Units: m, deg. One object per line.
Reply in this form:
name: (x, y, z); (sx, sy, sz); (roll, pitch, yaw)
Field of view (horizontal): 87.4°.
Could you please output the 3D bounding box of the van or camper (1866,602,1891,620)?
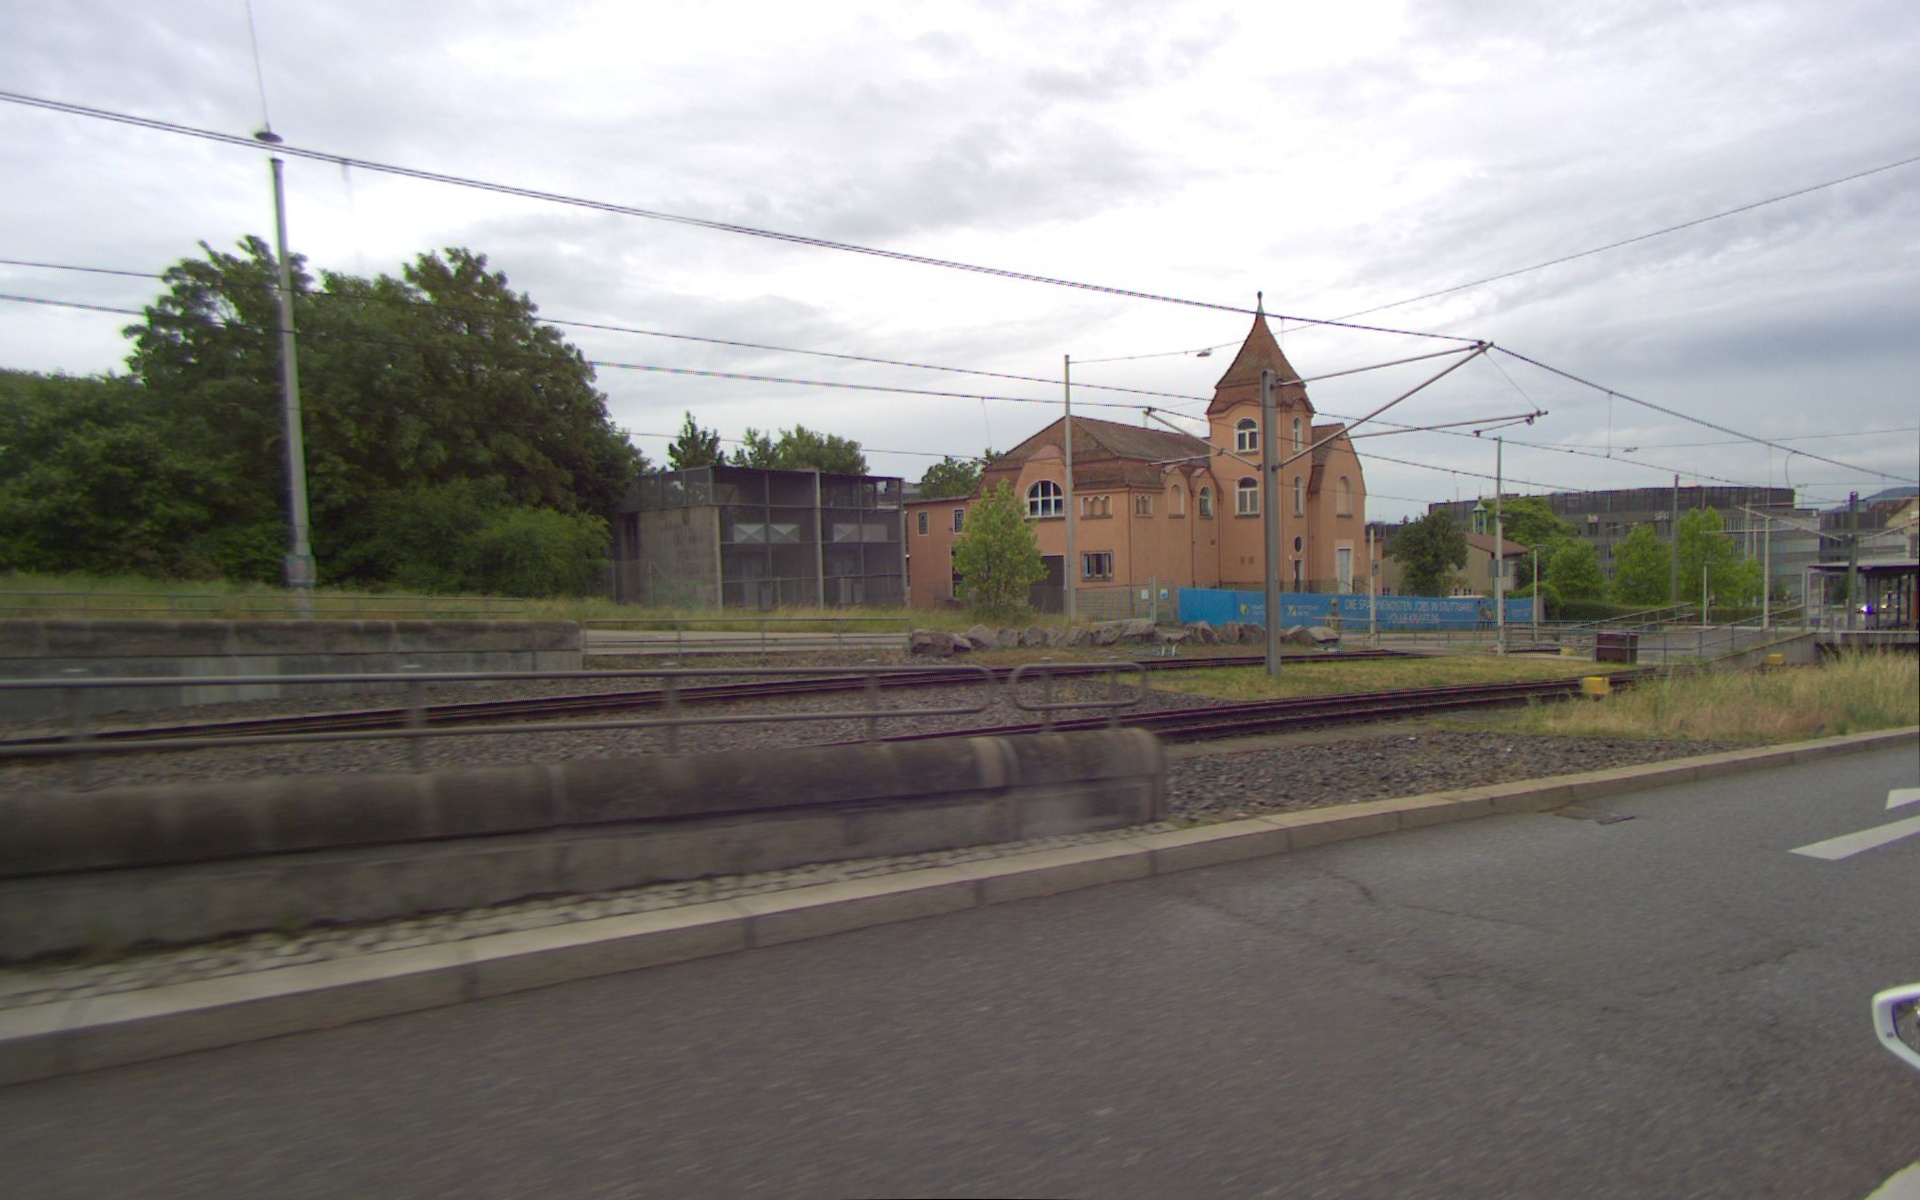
van or camper: (122.181, 1.456, 133.600); (3.967, 2.376, 1.977); (1, -2, -40)
